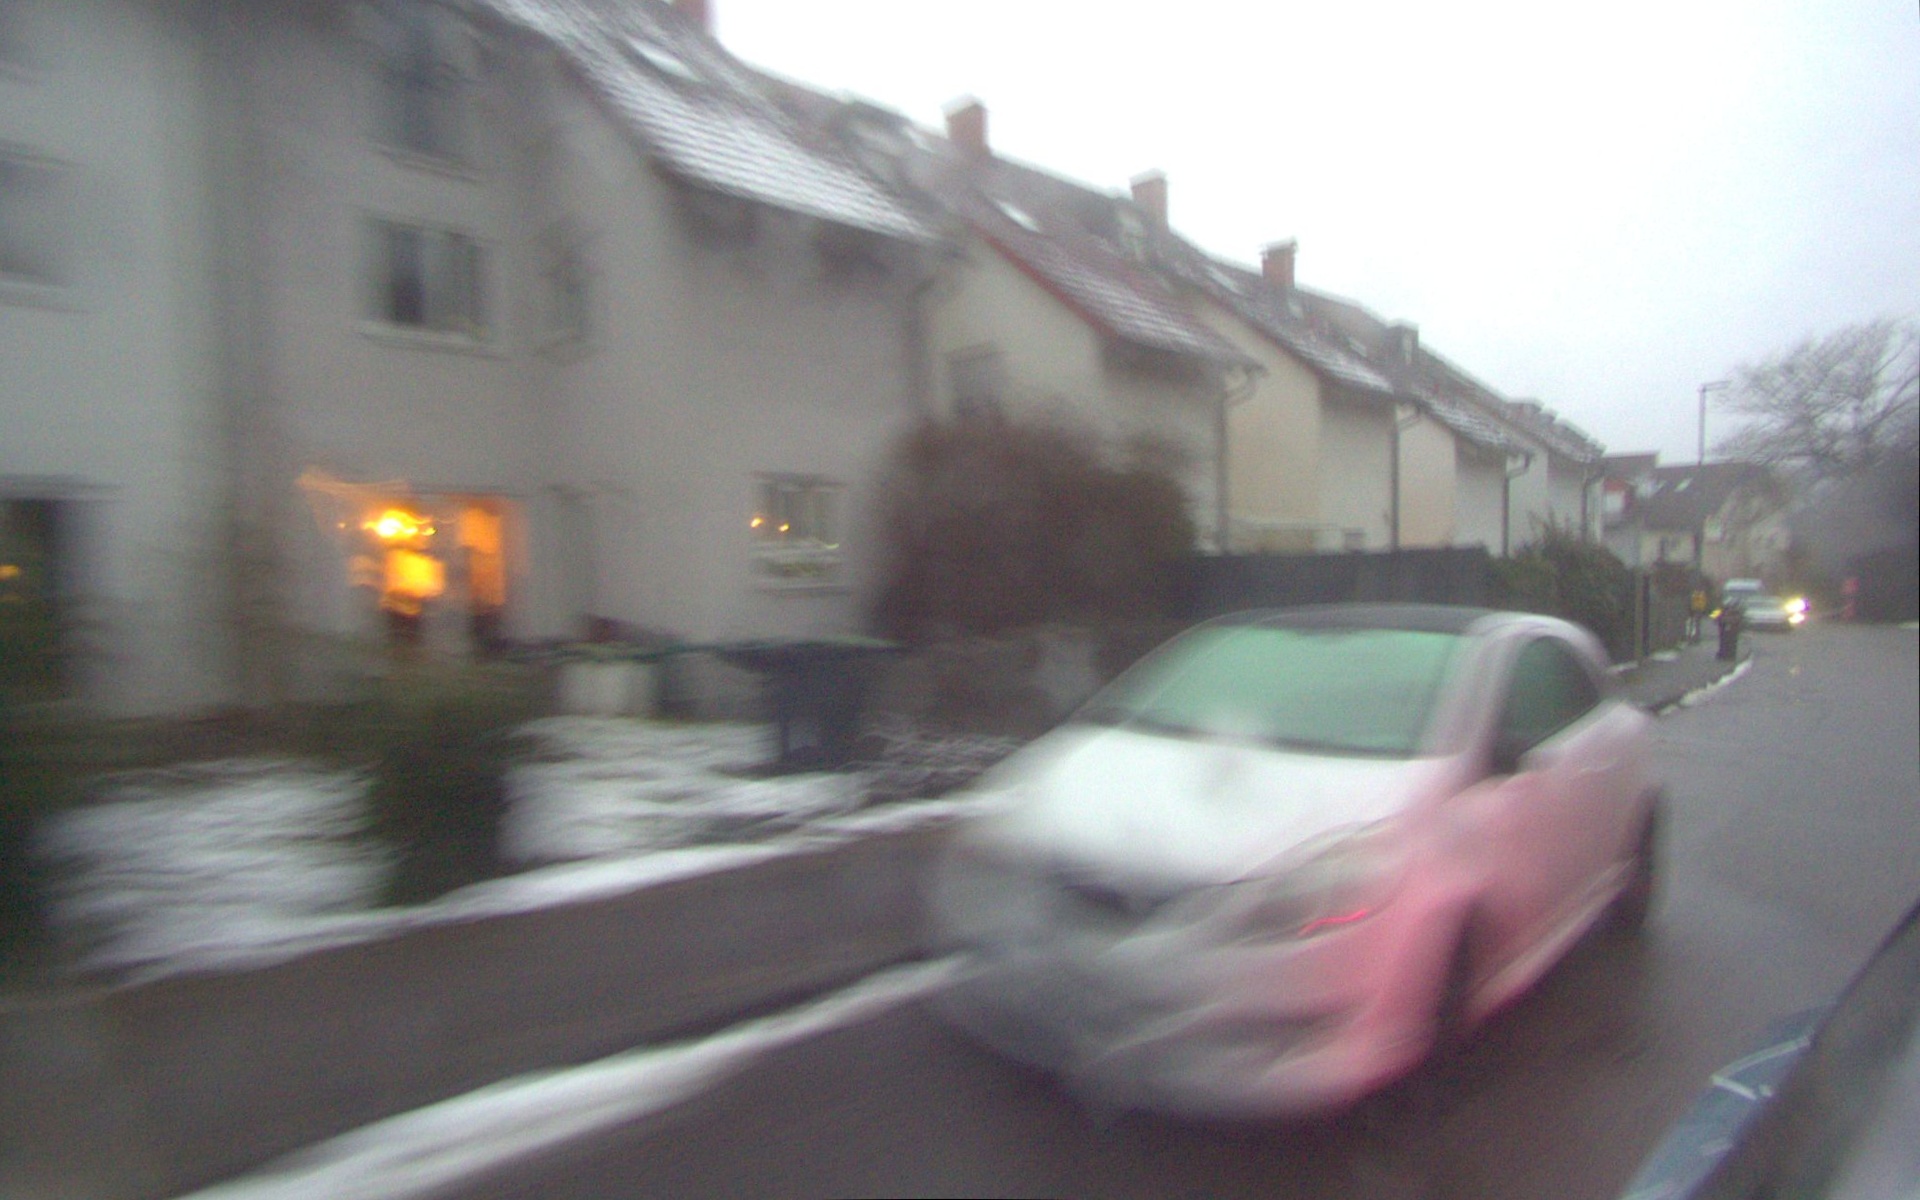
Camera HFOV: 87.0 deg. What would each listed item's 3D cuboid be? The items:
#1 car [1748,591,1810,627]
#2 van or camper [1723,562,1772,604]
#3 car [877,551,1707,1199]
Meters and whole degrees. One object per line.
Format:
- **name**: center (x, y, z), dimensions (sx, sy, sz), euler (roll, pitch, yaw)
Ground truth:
- **car**: center (35.143, 0.369, 43.516), dimensions (1.732, 1.447, 4.400), euler (-1, 0, 35)
- **van or camper**: center (50.067, -1.074, 64.440), dimensions (2.008, 2.539, 6.708), euler (1, 1, 35)
- **car**: center (1.715, 0.627, 4.238), dimensions (3.960, 1.525, 1.704), euler (-1, 0, -45)
